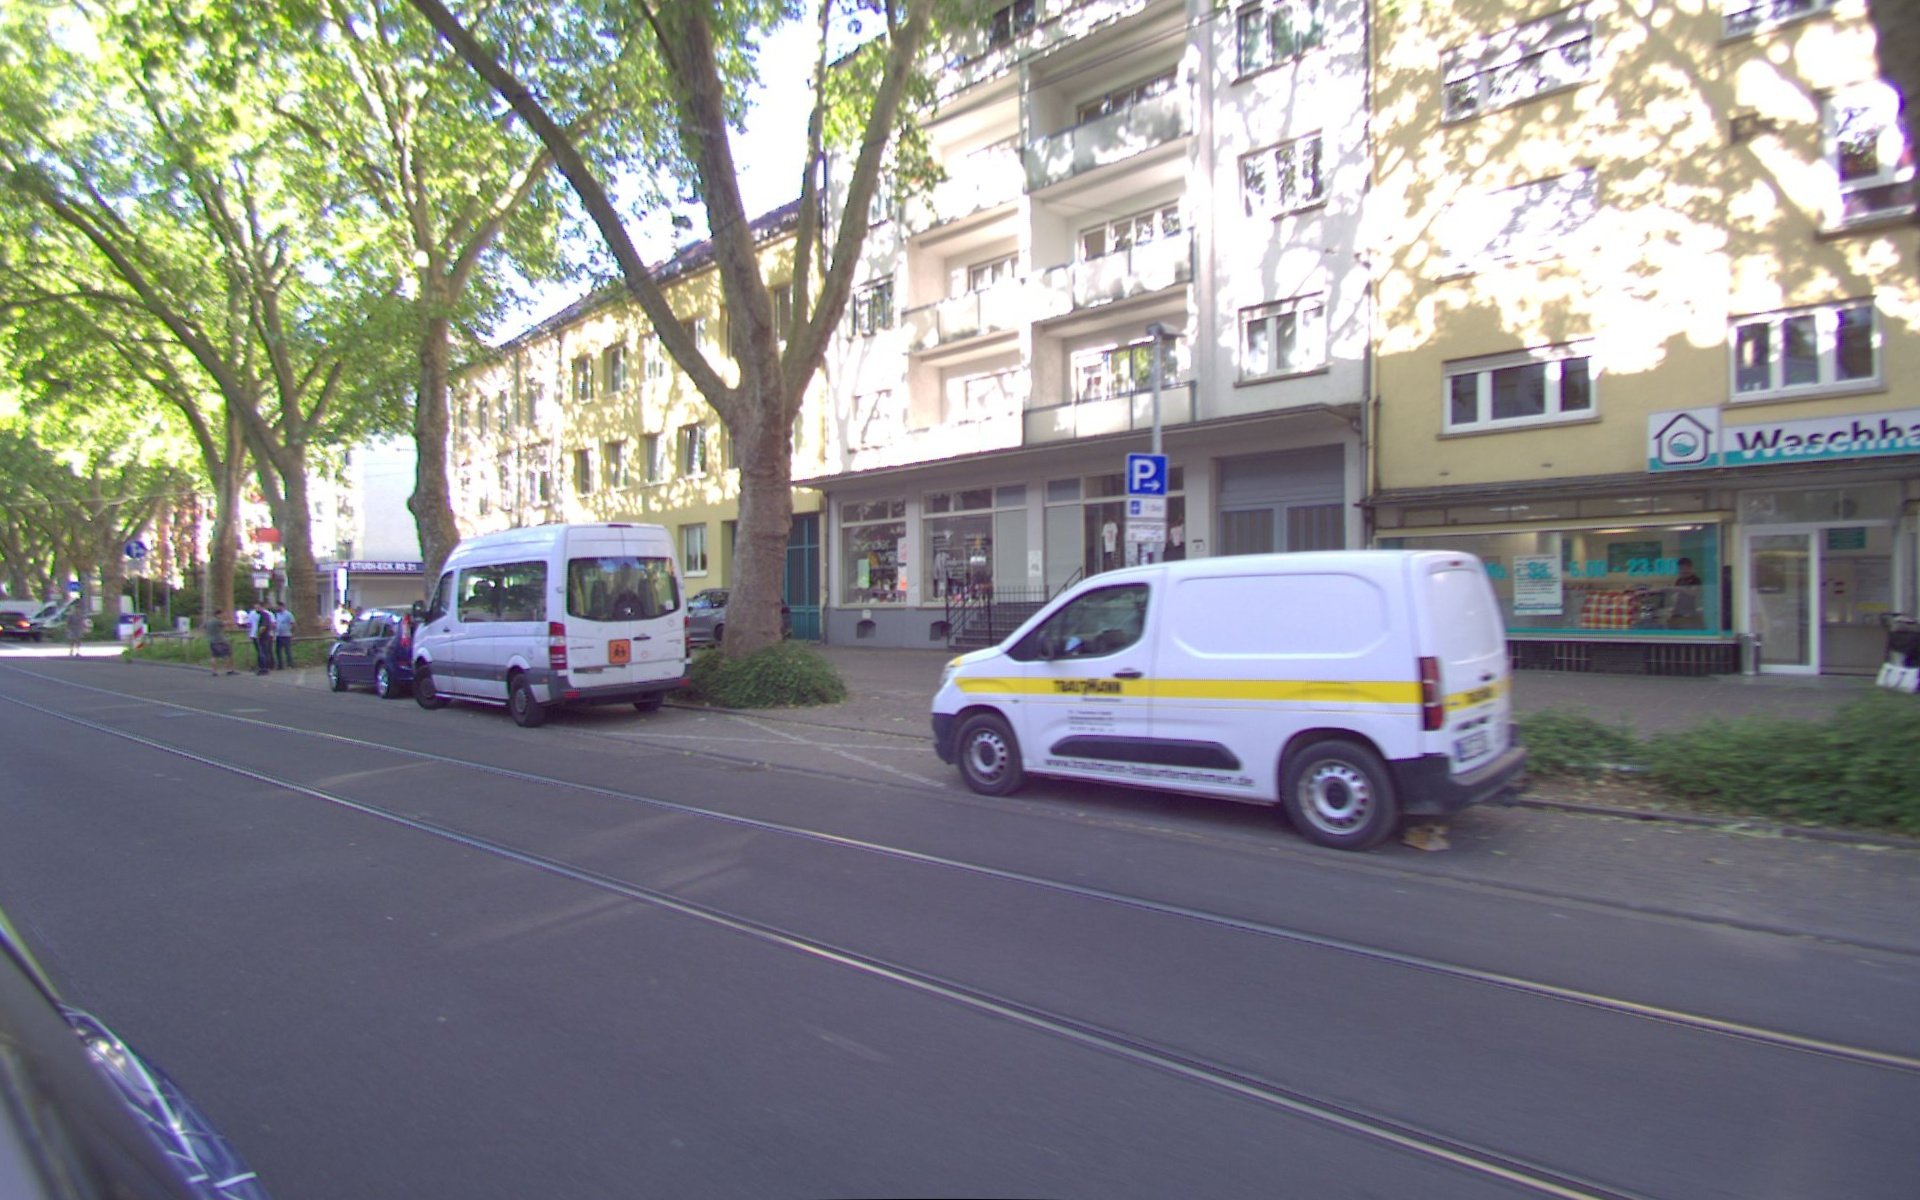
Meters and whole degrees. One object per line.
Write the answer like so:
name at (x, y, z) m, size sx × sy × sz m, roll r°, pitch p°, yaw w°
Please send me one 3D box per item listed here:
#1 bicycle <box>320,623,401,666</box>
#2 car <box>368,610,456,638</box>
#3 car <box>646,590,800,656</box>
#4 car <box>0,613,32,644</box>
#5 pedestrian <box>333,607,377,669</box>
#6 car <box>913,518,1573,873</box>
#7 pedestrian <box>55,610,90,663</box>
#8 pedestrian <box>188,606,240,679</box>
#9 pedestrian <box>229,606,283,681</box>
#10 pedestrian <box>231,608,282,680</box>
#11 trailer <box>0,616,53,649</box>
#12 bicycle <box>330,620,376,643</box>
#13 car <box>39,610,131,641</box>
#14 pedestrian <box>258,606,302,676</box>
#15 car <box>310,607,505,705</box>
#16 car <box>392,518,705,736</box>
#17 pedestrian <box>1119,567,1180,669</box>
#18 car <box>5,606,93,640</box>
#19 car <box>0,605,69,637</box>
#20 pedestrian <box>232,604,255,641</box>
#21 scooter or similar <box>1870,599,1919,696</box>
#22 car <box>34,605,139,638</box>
bicycle at (-16.368, 1.206, 27.655) m, size 1.820 × 1.088 × 0.571 m, roll -1°, pitch 0°, yaw -20°
car at (-31.765, 1.365, 58.706) m, size 1.834 × 1.489 × 4.098 m, roll -1°, pitch 1°, yaw 42°
car at (-6.945, 0.623, 29.365) m, size 4.899 × 1.746 × 1.972 m, roll -1°, pitch 1°, yaw 44°
car at (-55.436, 1.634, 58.689) m, size 4.180 × 1.696 × 1.903 m, roll -1°, pitch -3°, yaw 41°
pedestrian at (-16.100, 1.000, 26.939) m, size 0.759 × 1.622 × 0.715 m, roll -1°, pitch 0°, yaw -6°
car at (1.821, 0.500, 7.396) m, size 4.316 × 1.864 × 1.745 m, roll -1°, pitch 1°, yaw 41°
pedestrian at (-31.013, 1.278, 35.365) m, size 0.799 × 1.805 × 0.693 m, roll -1°, pitch 0°, yaw 30°
pedestrian at (-18.443, 1.042, 25.039) m, size 0.704 × 1.748 × 0.771 m, roll -1°, pitch 0°, yaw 0°
pedestrian at (-17.131, 1.042, 24.640) m, size 0.761 × 1.790 × 0.712 m, roll -1°, pitch 0°, yaw 6°
pedestrian at (-17.581, 1.083, 25.305) m, size 0.759 × 1.748 × 0.715 m, roll -1°, pitch 0°, yaw -6°
trailer at (-51.331, 1.730, 54.844) m, size 6.581 × 1.644 × 2.421 m, roll -1°, pitch -3°, yaw 41°
bicycle at (-30.265, 1.544, 50.475) m, size 0.655 × 1.070 × 1.846 m, roll -1°, pitch 1°, yaw 35°
car at (-52.141, 1.507, 60.352) m, size 1.908 × 1.622 × 3.946 m, roll -2°, pitch -1°, yaw 41°
pedestrian at (-17.569, 1.045, 26.138) m, size 0.717 × 1.748 × 0.760 m, roll -1°, pitch 0°, yaw 42°
car at (-10.417, 0.949, 18.958) m, size 4.283 × 1.573 × 1.896 m, roll -1°, pitch 1°, yaw 42°
car at (-6.284, 0.320, 14.934) m, size 2.084 × 2.597 × 6.027 m, roll -1°, pitch 1°, yaw -45°
pedestrian at (3.605, 0.330, 19.217) m, size 0.863 × 1.883 × 0.737 m, roll -1°, pitch 0°, yaw 41°
car at (-66.175, 1.640, 73.562) m, size 2.000 × 2.323 × 4.599 m, roll -1°, pitch 1°, yaw 43°
car at (-76.868, 1.710, 83.645) m, size 2.000 × 2.552 × 4.599 m, roll -1°, pitch 1°, yaw 43°
pedestrian at (-36.179, 1.130, 51.113) m, size 0.668 × 1.793 × 0.716 m, roll 0°, pitch 1°, yaw 33°
scooter or similar at (11.925, 0.580, 12.588) m, size 0.633 × 1.176 × 0.677 m, roll -1°, pitch 0°, yaw -21°
car at (-59.085, 1.416, 68.527) m, size 1.997 × 2.010 × 5.071 m, roll -1°, pitch 1°, yaw 38°
